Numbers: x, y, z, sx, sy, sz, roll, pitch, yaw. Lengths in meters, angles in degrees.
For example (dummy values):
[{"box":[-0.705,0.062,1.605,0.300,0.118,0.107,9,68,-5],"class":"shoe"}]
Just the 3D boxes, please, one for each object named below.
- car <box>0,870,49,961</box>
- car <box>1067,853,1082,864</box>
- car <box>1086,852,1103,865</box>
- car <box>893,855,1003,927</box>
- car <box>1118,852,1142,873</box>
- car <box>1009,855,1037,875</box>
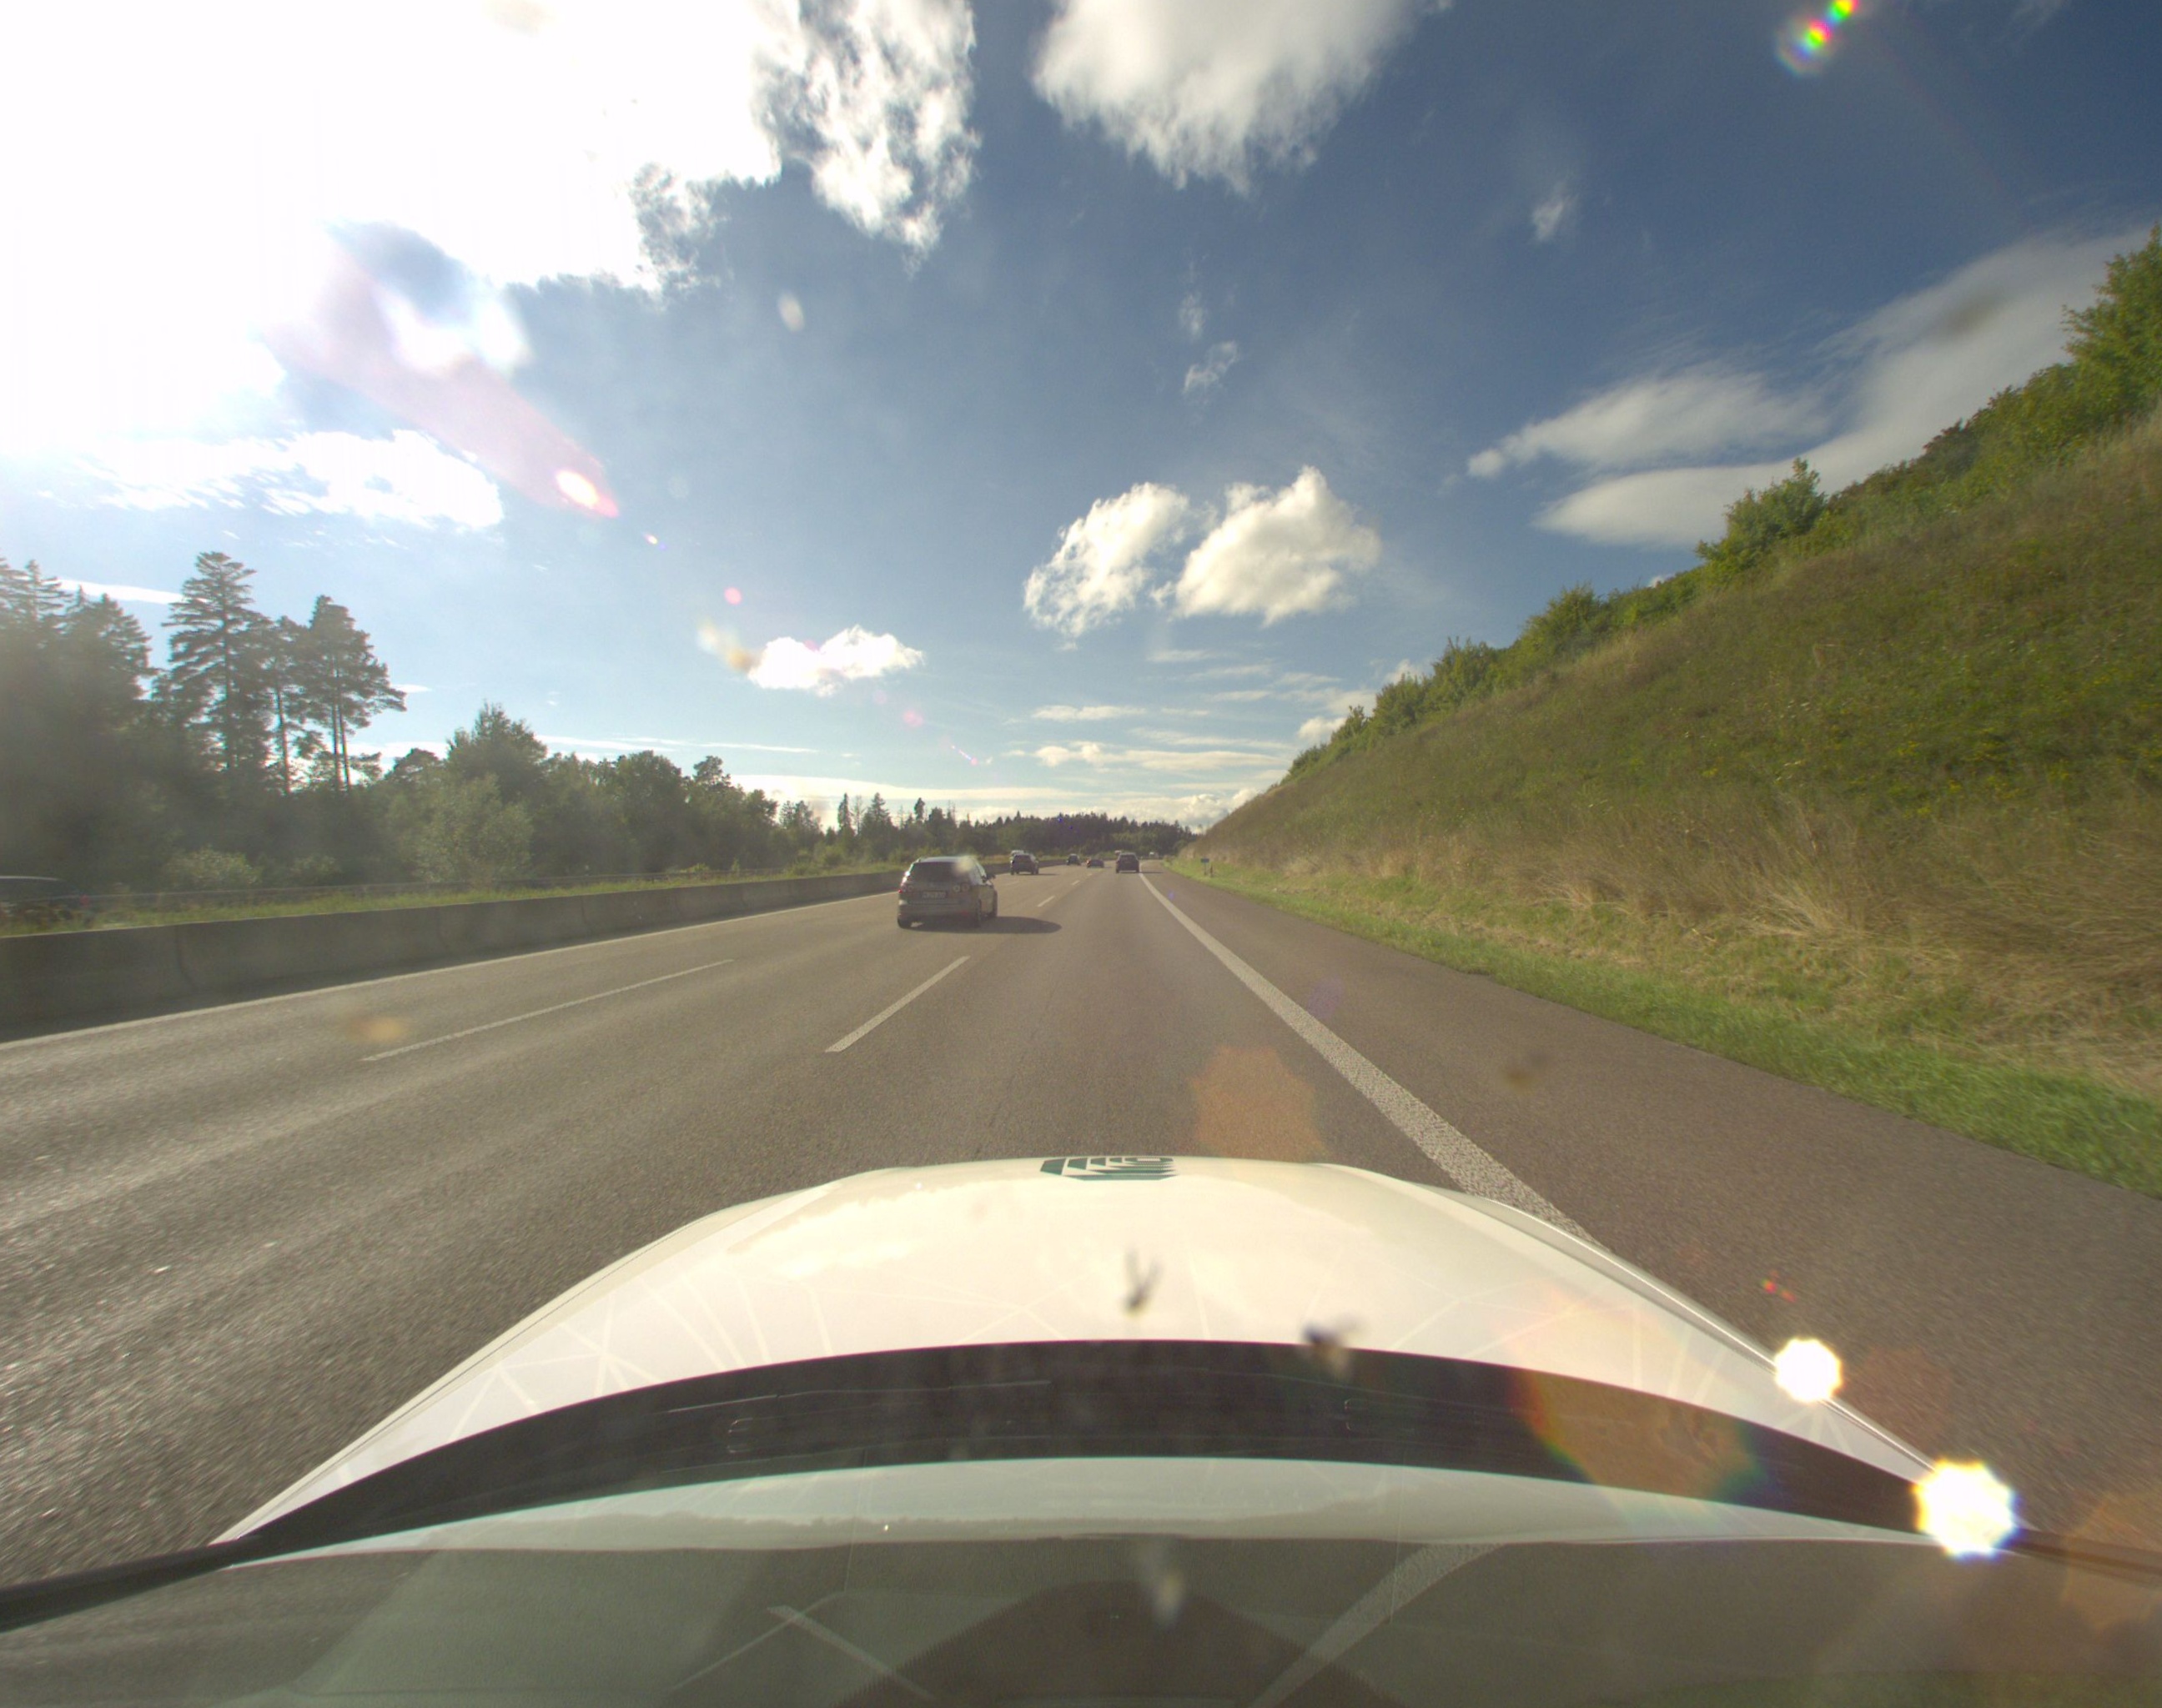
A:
[{"box":[-21.911,1.203,14.434,1.986,1.747,4.051,-1,0,2],"class":"car"},{"box":[-0.877,0.623,113.657,1.867,1.497,3.880,-1,0,1],"class":"car"},{"box":[1.553,0.528,94.298,1.867,1.497,3.880,-1,0,1],"class":"car"},{"box":[-3.007,0.792,19.250,1.867,1.497,3.880,-1,0,1],"class":"car"},{"box":[4.006,0.676,67.144,1.866,1.675,3.892,-1,0,2],"class":"car"},{"box":[-4.498,0.841,63.847,1.867,1.497,3.880,-1,0,1],"class":"car"}]
